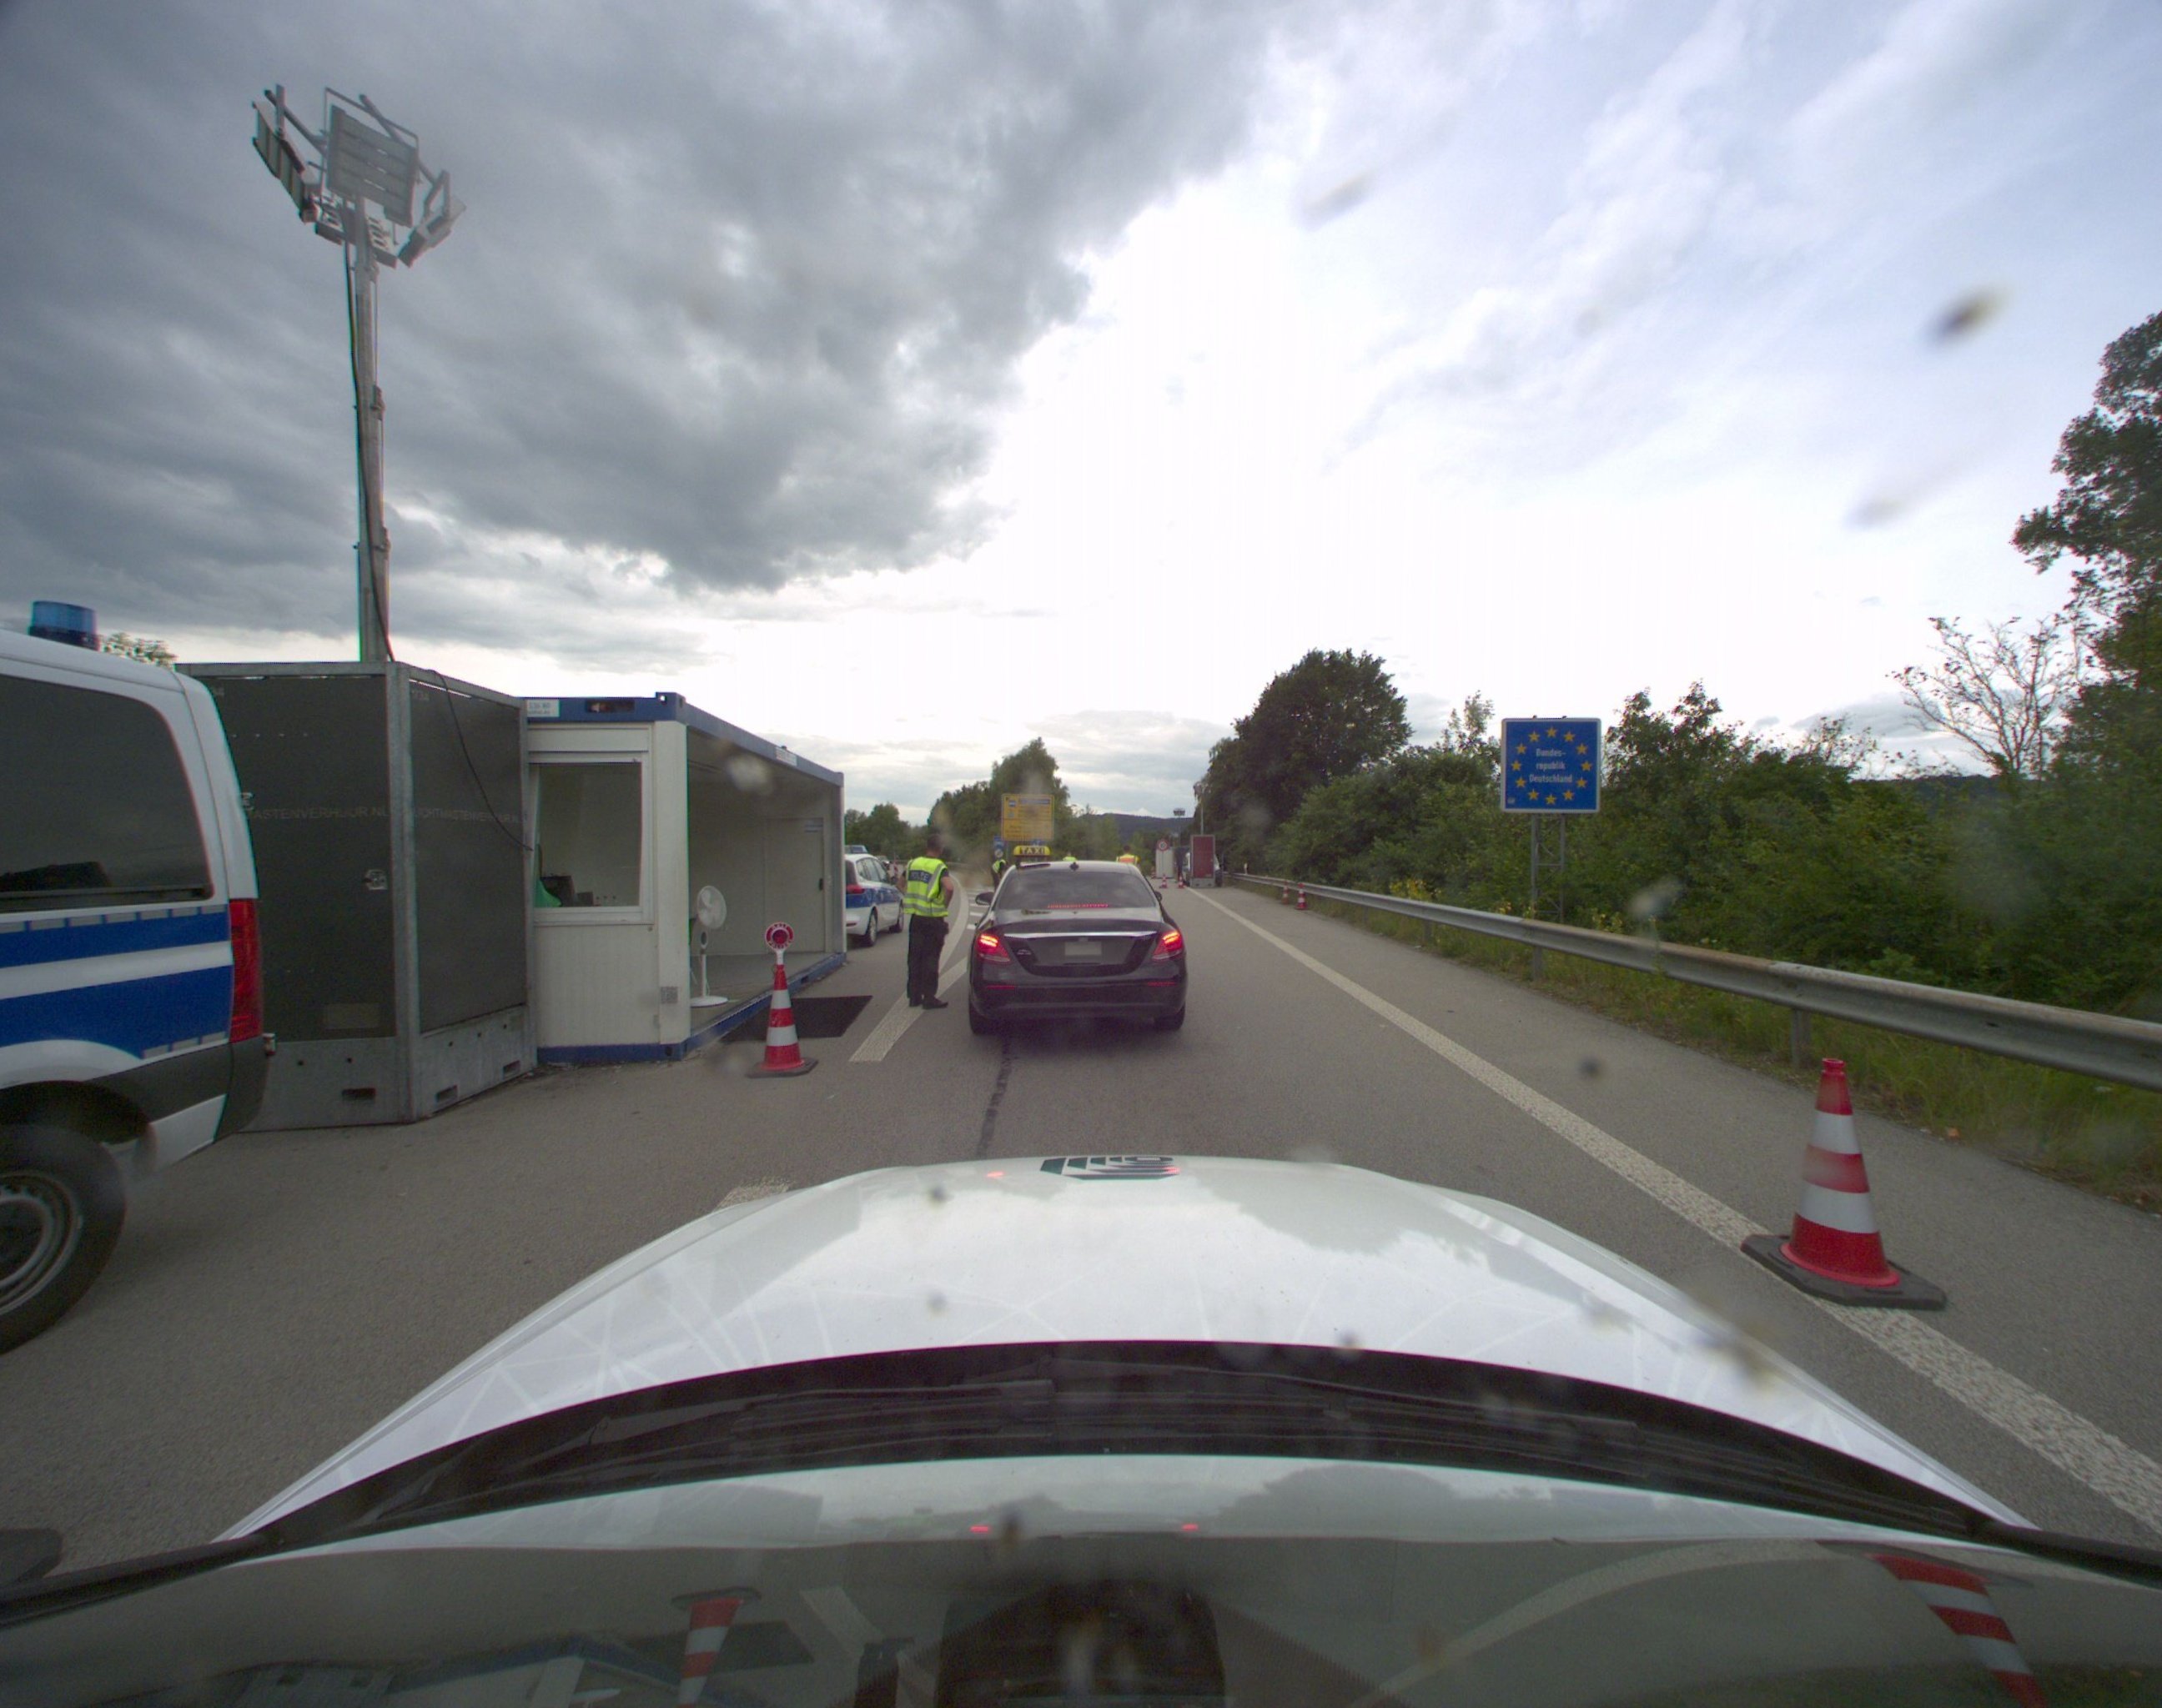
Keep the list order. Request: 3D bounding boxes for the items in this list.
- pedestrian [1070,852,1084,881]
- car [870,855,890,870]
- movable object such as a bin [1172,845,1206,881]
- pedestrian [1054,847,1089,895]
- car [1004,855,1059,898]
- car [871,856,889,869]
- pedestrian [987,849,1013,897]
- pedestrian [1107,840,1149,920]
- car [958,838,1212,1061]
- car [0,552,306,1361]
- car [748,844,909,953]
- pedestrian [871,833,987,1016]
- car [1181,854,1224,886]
[{"bbox_3d":[-0.276,0.830,54.291,0.659,1.961,0.763,-1,-1,17],"label":"pedestrian"},{"bbox_3d":[-20.296,0.841,82.432,1.857,1.498,4.238,-1,0,-13],"label":"car"},{"bbox_3d":[7.197,0.569,54.611,1.984,2.280,4.172,-1,0,4],"label":"movable object such as a bin"},{"bbox_3d":[-0.347,0.615,29.498,0.914,1.698,0.905,0,-1,-30],"label":"pedestrian"},{"bbox_3d":[-1.808,0.806,30.954,1.850,1.498,4.255,-1,0,-1],"label":"car"},{"bbox_3d":[-24.296,1.007,98.380,1.860,1.498,4.232,-1,0,-17],"label":"car"},{"bbox_3d":[-3.052,0.716,30.838,0.908,1.769,0.911,-1,0,-1],"label":"pedestrian"},{"bbox_3d":[1.108,0.610,19.240,0.806,1.830,0.813,-1,-1,14],"label":"pedestrian"},{"bbox_3d":[-0.063,0.699,8.171,1.851,1.595,4.371,-1,0,-3],"label":"car"},{"bbox_3d":[-4.265,0.317,0.799,2.023,2.463,5.276,-1,0,-2],"label":"car"},{"bbox_3d":[-4.541,0.727,15.271,1.864,1.743,4.005,-1,0,-2],"label":"car"},{"bbox_3d":[-1.524,0.661,8.197,0.752,1.718,0.823,-2,-1,39],"label":"pedestrian"},{"bbox_3d":[6.756,0.849,45.770,1.908,1.678,5.087,1,0,3],"label":"car"}]
